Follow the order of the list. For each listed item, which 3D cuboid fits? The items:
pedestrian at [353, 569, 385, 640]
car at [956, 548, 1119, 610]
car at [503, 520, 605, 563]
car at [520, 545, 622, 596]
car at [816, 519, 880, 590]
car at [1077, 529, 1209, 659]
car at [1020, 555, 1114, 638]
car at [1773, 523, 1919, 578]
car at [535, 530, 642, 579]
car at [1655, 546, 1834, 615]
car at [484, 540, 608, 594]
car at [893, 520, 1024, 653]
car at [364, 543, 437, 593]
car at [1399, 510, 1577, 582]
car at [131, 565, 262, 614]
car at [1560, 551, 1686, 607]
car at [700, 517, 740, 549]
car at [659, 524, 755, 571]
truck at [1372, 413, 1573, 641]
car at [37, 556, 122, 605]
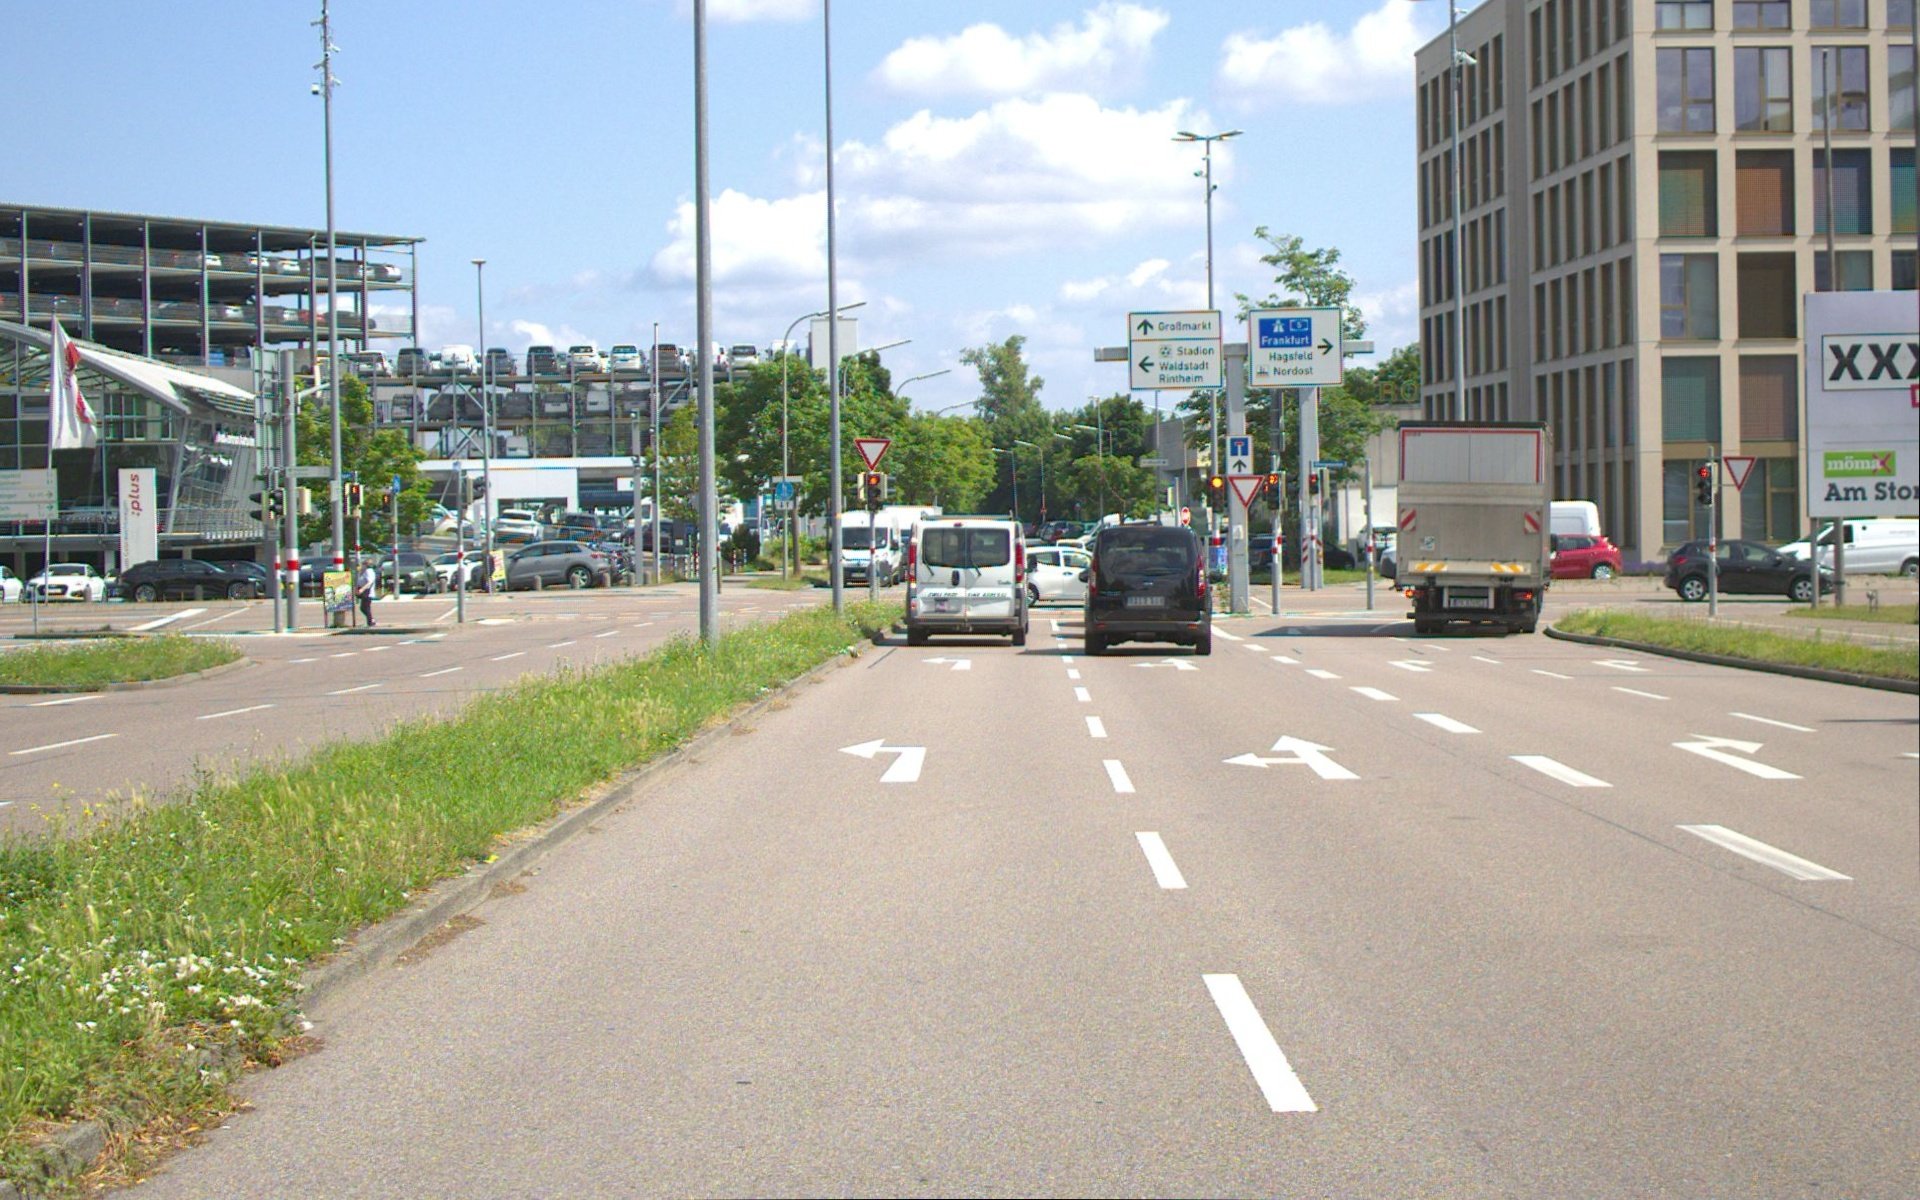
[{"bbox_3d":[-12.761,0.096,74.179,0.470,1.507,0.511,0,1,26],"label":"pedestrian"},{"bbox_3d":[1.867,-0.521,83.640,3.850,1.461,1.696,0,1,-3],"label":"car"},{"bbox_3d":[-16.987,-2.444,144.054,4.164,1.707,1.689,1,1,-5],"label":"car"},{"bbox_3d":[-13.986,-1.066,123.793,3.507,1.707,1.604,-2,2,-2],"label":"car"},{"bbox_3d":[-3.760,-1.557,115.759,1.971,2.248,4.981,-2,2,-1],"label":"car"},{"bbox_3d":[2.698,-0.118,50.080,1.820,1.802,4.000,1,1,4],"label":"car"},{"bbox_3d":[2.056,-0.077,66.113,1.740,1.538,4.000,1,0,2],"label":"car"},{"bbox_3d":[27.228,-1.501,103.606,4.982,1.602,2.000,0,2,-1],"label":"car"},{"bbox_3d":[-14.148,-1.738,131.163,3.912,1.707,1.689,-2,2,-2],"label":"car"},{"bbox_3d":[18.911,-0.472,82.964,4.147,1.498,1.625,-1,2,13],"label":"car"},{"bbox_3d":[-13.610,-1.093,113.179,3.861,1.634,1.858,-2,2,-2],"label":"car"},{"bbox_3d":[0.011,-0.257,54.613,1.856,2.011,4.000,0,1,3],"label":"car"},{"bbox_3d":[-17.657,-1.011,108.333,1.816,1.546,4.001,0,1,-16],"label":"car"},{"bbox_3d":[16.672,-1.724,108.513,5.499,2.247,1.999,0,1,10],"label":"car"},{"bbox_3d":[-23.852,-0.336,107.462,3.791,1.508,1.679,0,1,-4],"label":"car"},{"bbox_3d":[18.923,-0.613,98.187,3.272,1.400,1.334,0,10,-1],"label":"car"},{"bbox_3d":[-11.552,-3.246,165.522,1.846,1.524,4.001,0,2,-3],"label":"car"},{"bbox_3d":[-10.650,-2.207,144.534,3.986,1.919,1.827,0,1,-5],"label":"car"},{"bbox_3d":[9.644,-1.386,63.912,3.131,3.927,8.854,0,2,12],"label":"truck"},{"bbox_3d":[-27.570,-0.611,107.761,1.776,1.445,4.030,0,2,-3],"label":"car"}]
